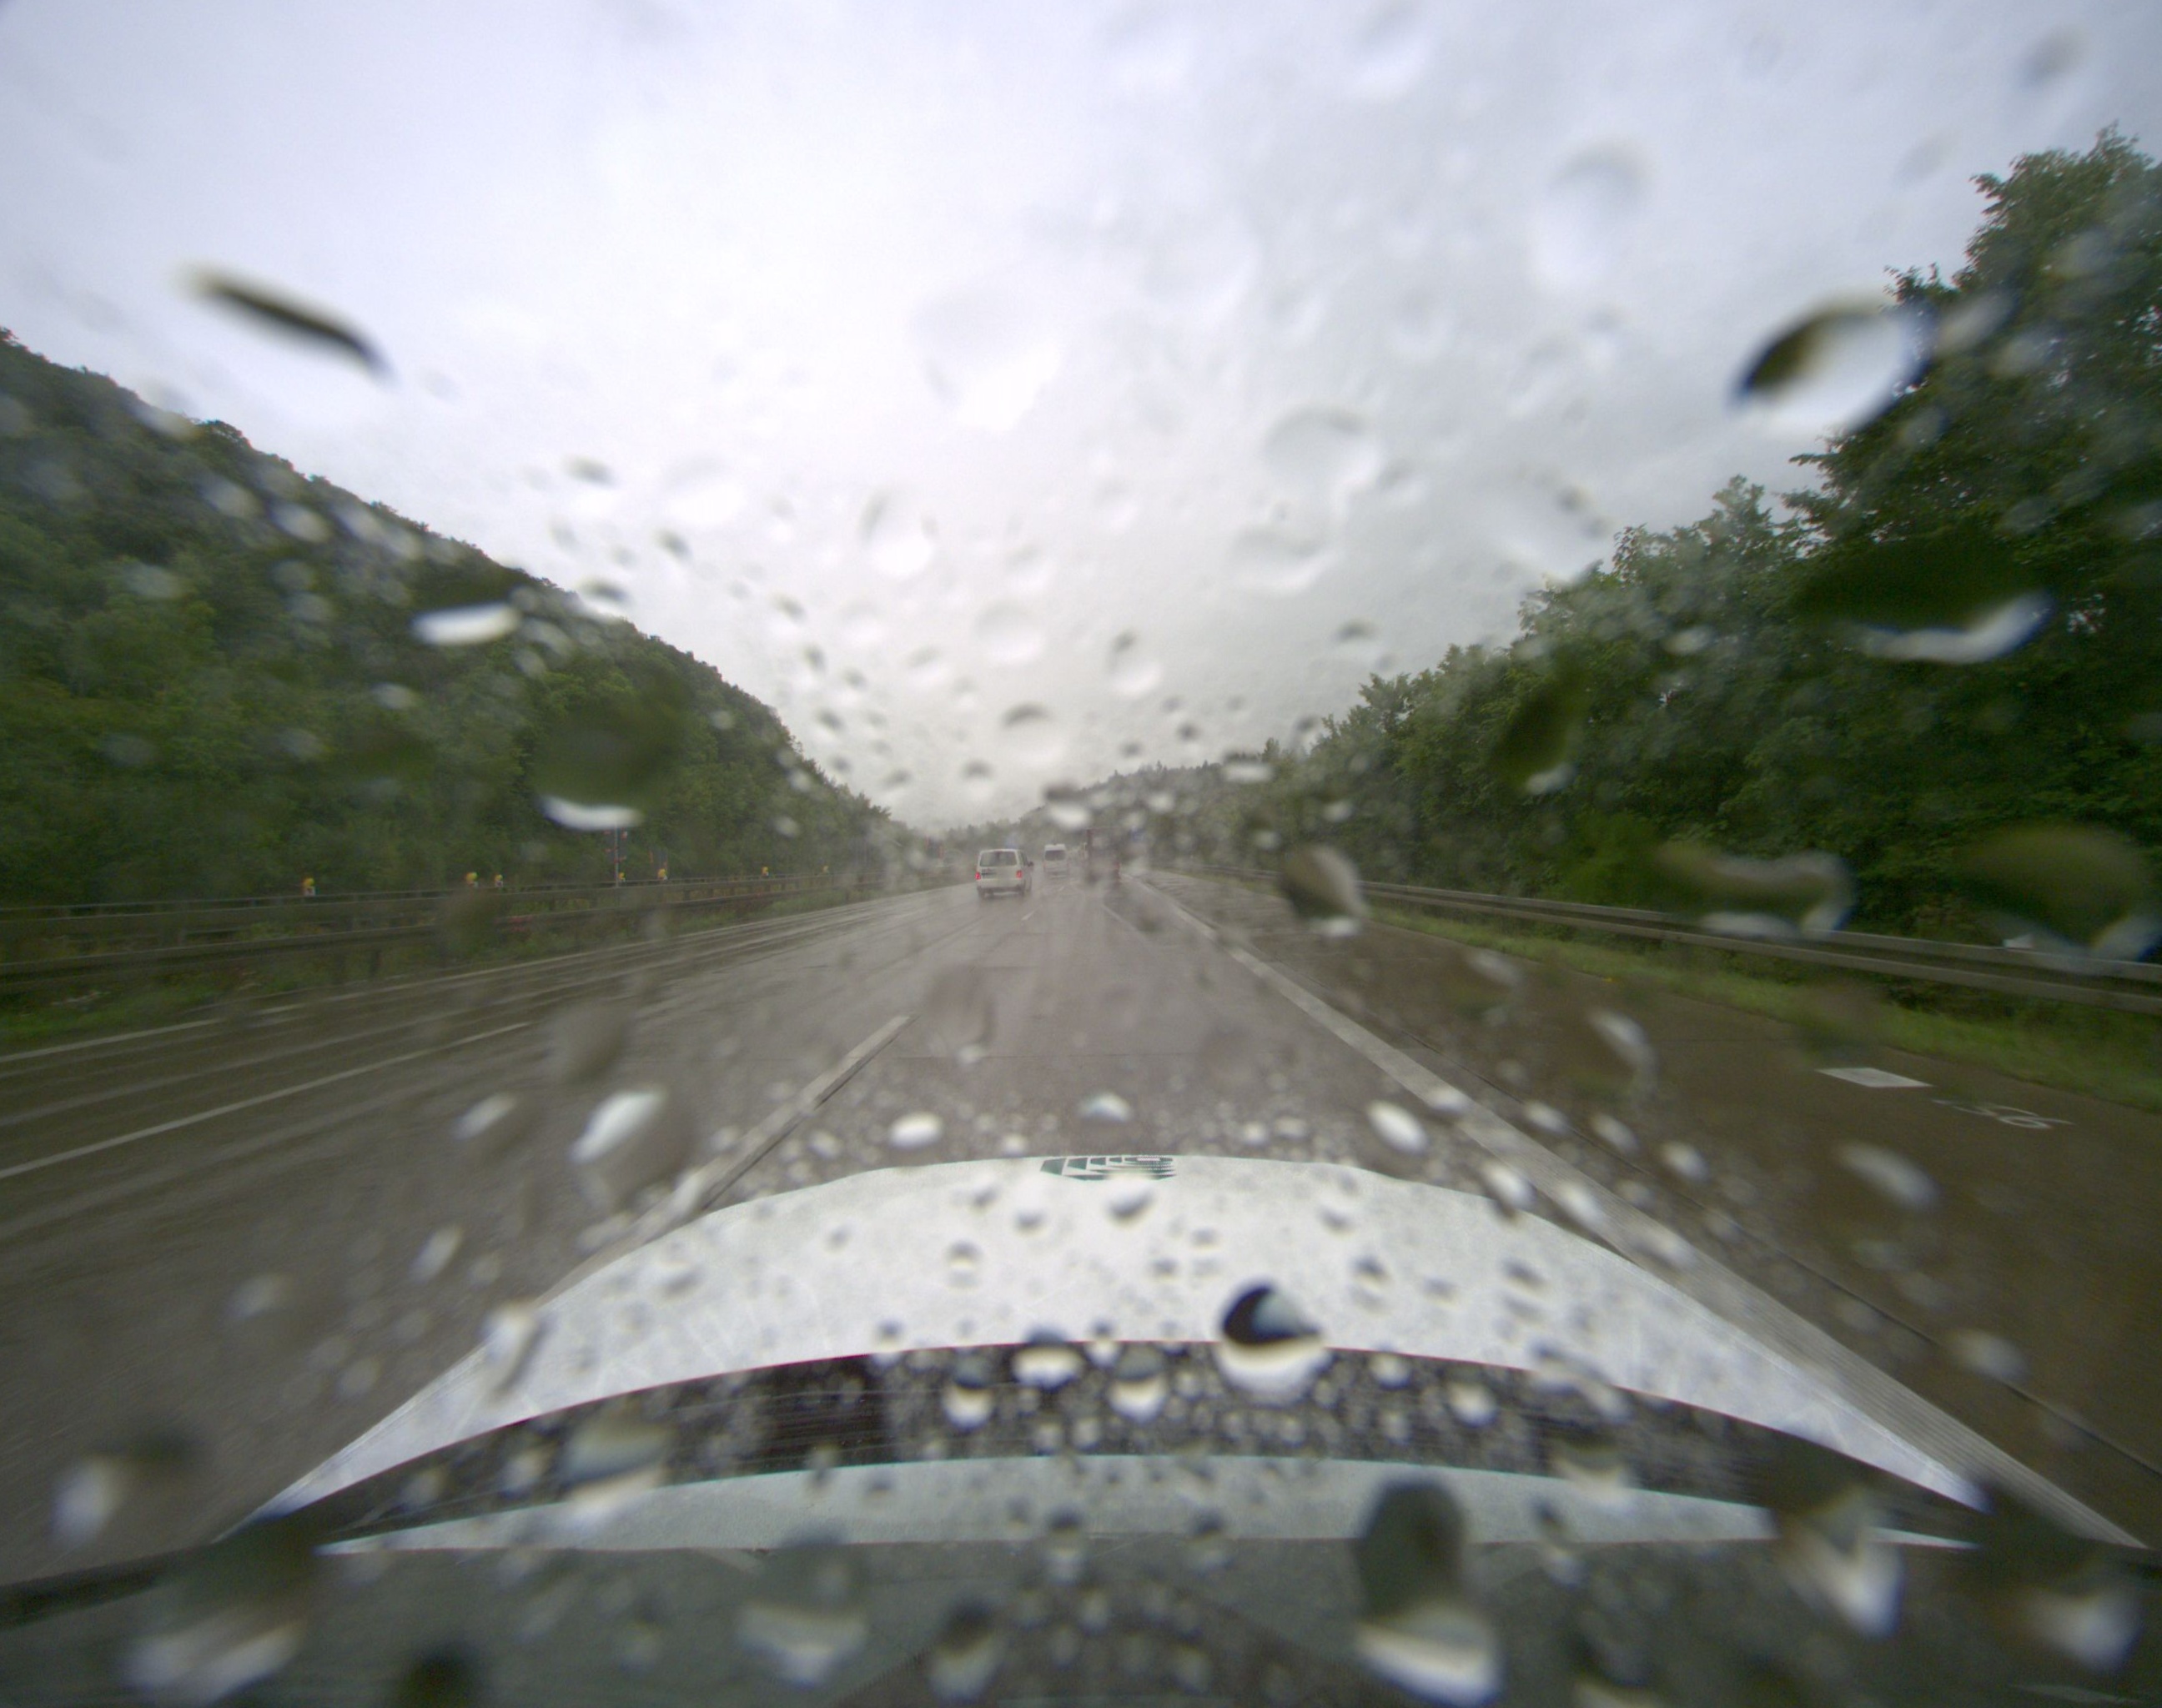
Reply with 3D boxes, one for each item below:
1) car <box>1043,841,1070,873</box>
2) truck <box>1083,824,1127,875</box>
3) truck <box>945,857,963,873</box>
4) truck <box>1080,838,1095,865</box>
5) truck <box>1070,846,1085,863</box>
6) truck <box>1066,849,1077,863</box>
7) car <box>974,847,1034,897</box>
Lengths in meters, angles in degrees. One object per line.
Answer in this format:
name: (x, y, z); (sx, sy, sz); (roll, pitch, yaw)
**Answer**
car: (-1.979, 0.237, 64.399); (1.896, 2.334, 5.243); (-1, 0, -4)
truck: (1.992, -0.462, 70.737); (3.373, 3.967, 8.668); (-4, 2, 1)
truck: (-25.374, 2.164, 162.901); (2.289, 3.018, 7.924); (-1, 0, 1)
truck: (0.953, -0.306, 121.230); (1.988, 3.806, 6.730); (-2, 0, -1)
truck: (-0.709, 0.138, 156.614); (1.991, 3.169, 6.719); (-2, 0, -6)
truck: (-2.239, 0.437, 188.875); (1.991, 3.169, 6.719); (-2, 0, -6)
car: (-3.102, 0.699, 33.889); (1.893, 1.894, 5.044); (-1, 0, 1)
